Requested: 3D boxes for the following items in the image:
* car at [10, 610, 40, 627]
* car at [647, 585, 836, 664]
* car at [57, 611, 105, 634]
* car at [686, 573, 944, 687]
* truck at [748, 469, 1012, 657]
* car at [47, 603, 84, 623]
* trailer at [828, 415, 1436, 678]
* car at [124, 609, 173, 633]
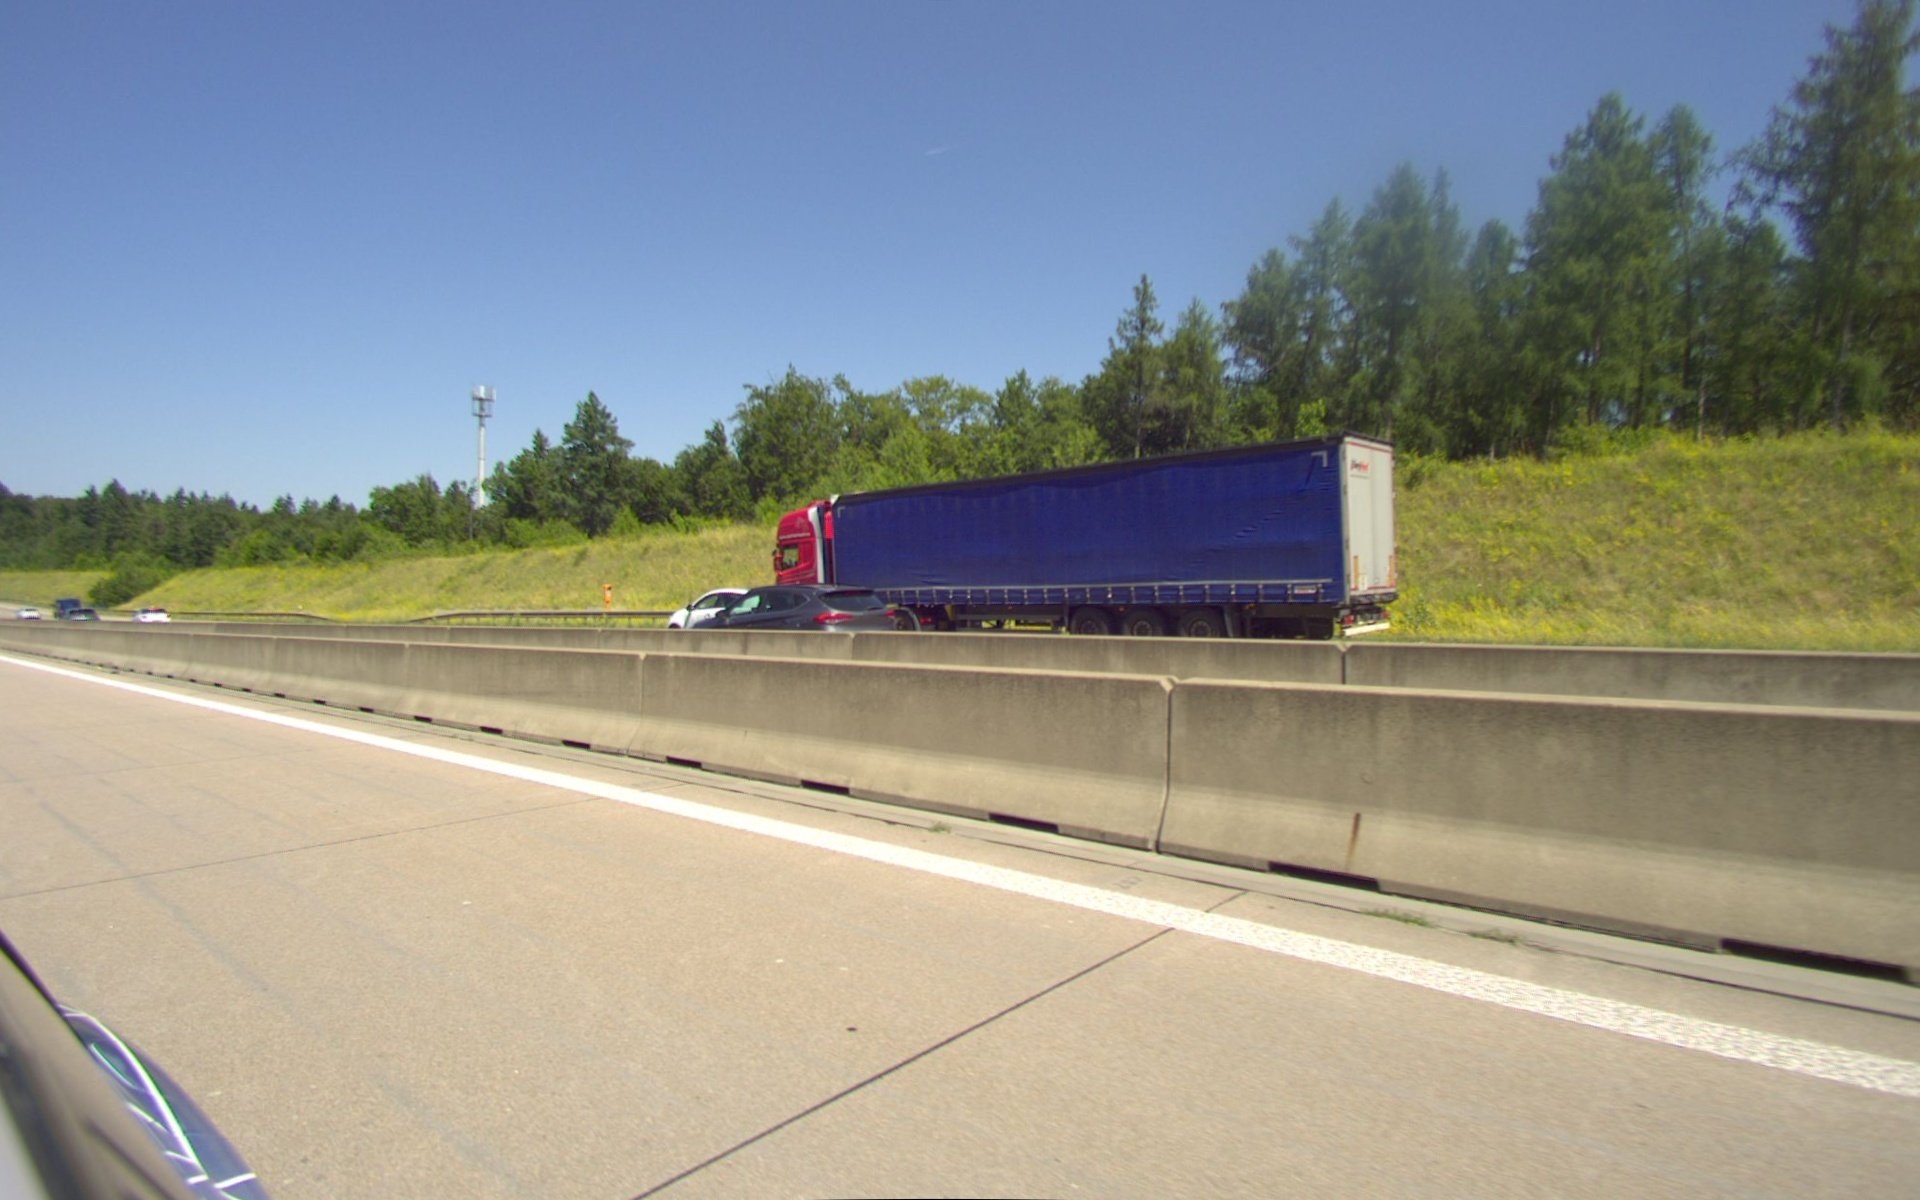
[{"bbox_3d":[-104.864,2.063,113.509,4.851,1.821,1.987,-1,1,41],"label":"car"},{"bbox_3d":[-5.344,0.558,24.425,4.813,1.705,1.973,-1,0,41],"label":"car"},{"bbox_3d":[-61.089,1.552,70.325,4.194,1.549,1.973,-1,1,41],"label":"car"},{"bbox_3d":[-2.559,0.458,17.218,4.369,1.705,1.973,-1,0,41],"label":"car"},{"bbox_3d":[-2.308,-0.908,27.593,6.797,4.464,3.352,0,1,41],"label":"truck"},{"bbox_3d":[-105.213,1.583,119.041,6.456,2.226,2.455,-1,1,41],"label":"car"},{"bbox_3d":[2.918,-0.926,23.002,13.918,4.464,3.352,0,1,41],"label":"trailer"},{"bbox_3d":[-56.688,1.430,70.694,3.998,1.575,1.973,-1,1,41],"label":"car"}]
